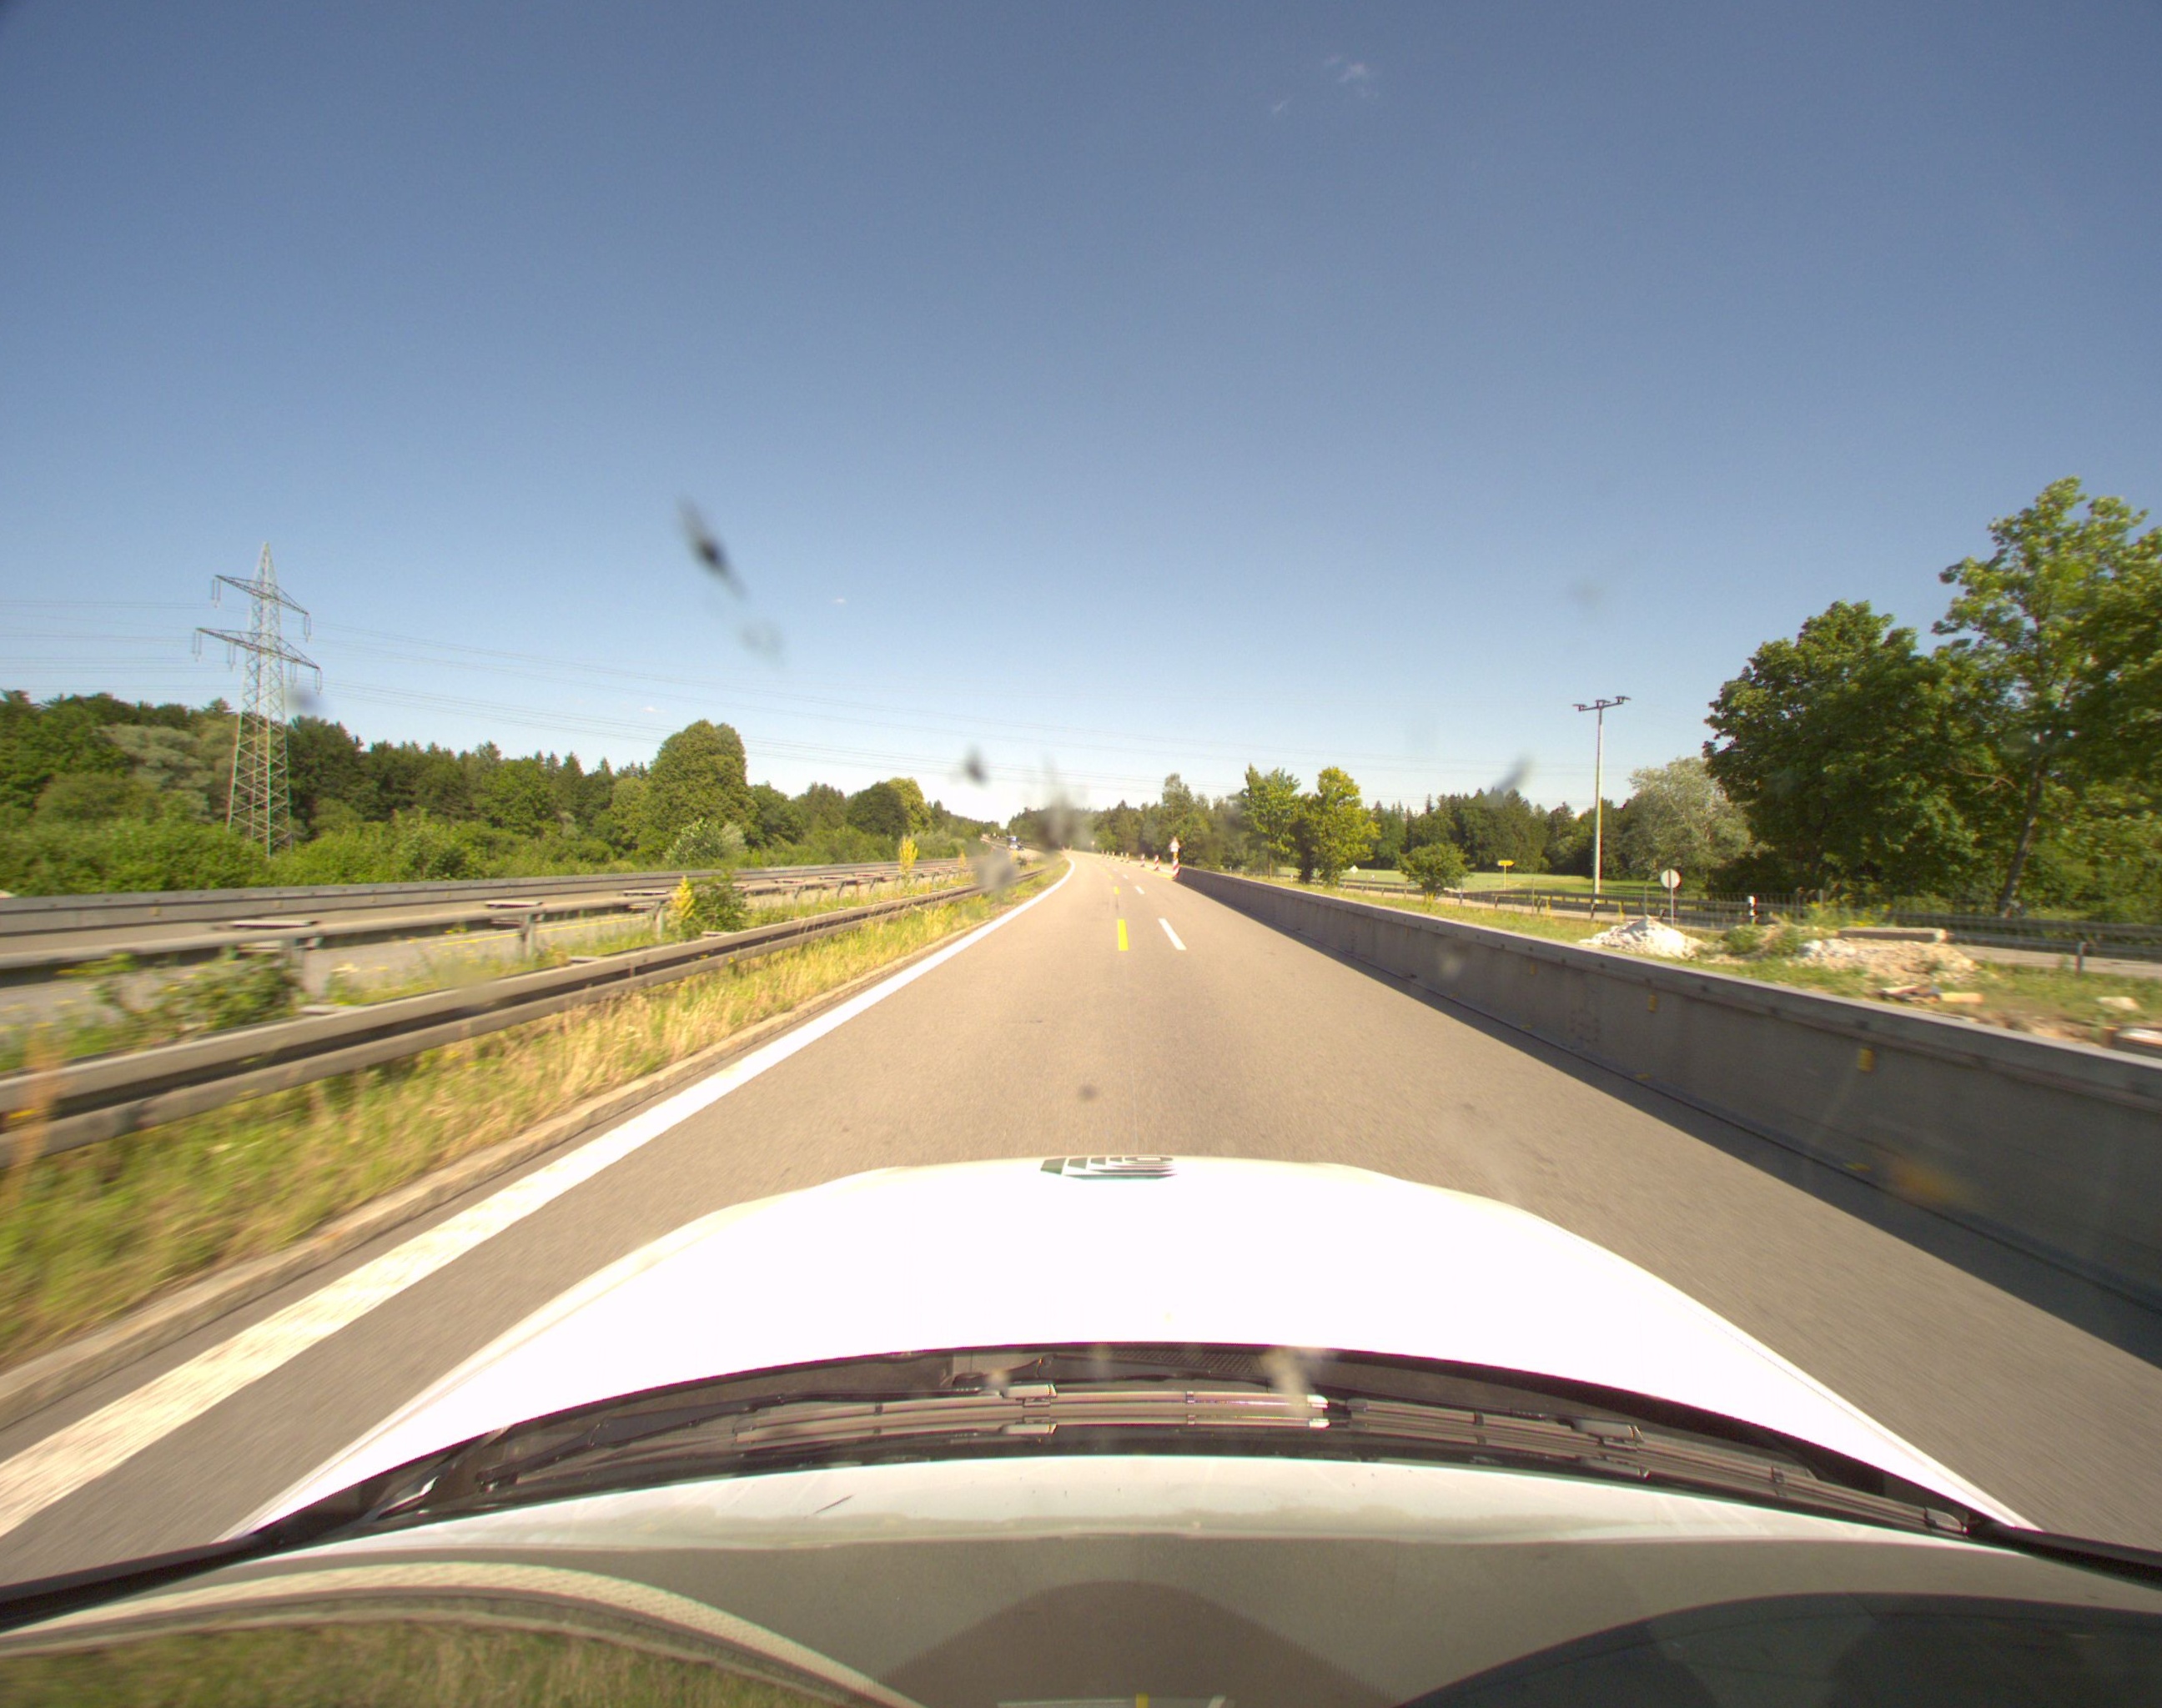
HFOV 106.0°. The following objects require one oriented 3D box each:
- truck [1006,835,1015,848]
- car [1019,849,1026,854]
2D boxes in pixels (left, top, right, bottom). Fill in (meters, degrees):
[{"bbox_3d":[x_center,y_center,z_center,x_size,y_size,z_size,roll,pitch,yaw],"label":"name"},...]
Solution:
[{"bbox_3d":[-22.384,-3.984,257.898,2.627,3.959,5.835,0,0,-4],"label":"truck"},{"bbox_3d":[-17.052,-0.789,237.049,1.773,1.429,4.264,-1,0,-3],"label":"car"}]
